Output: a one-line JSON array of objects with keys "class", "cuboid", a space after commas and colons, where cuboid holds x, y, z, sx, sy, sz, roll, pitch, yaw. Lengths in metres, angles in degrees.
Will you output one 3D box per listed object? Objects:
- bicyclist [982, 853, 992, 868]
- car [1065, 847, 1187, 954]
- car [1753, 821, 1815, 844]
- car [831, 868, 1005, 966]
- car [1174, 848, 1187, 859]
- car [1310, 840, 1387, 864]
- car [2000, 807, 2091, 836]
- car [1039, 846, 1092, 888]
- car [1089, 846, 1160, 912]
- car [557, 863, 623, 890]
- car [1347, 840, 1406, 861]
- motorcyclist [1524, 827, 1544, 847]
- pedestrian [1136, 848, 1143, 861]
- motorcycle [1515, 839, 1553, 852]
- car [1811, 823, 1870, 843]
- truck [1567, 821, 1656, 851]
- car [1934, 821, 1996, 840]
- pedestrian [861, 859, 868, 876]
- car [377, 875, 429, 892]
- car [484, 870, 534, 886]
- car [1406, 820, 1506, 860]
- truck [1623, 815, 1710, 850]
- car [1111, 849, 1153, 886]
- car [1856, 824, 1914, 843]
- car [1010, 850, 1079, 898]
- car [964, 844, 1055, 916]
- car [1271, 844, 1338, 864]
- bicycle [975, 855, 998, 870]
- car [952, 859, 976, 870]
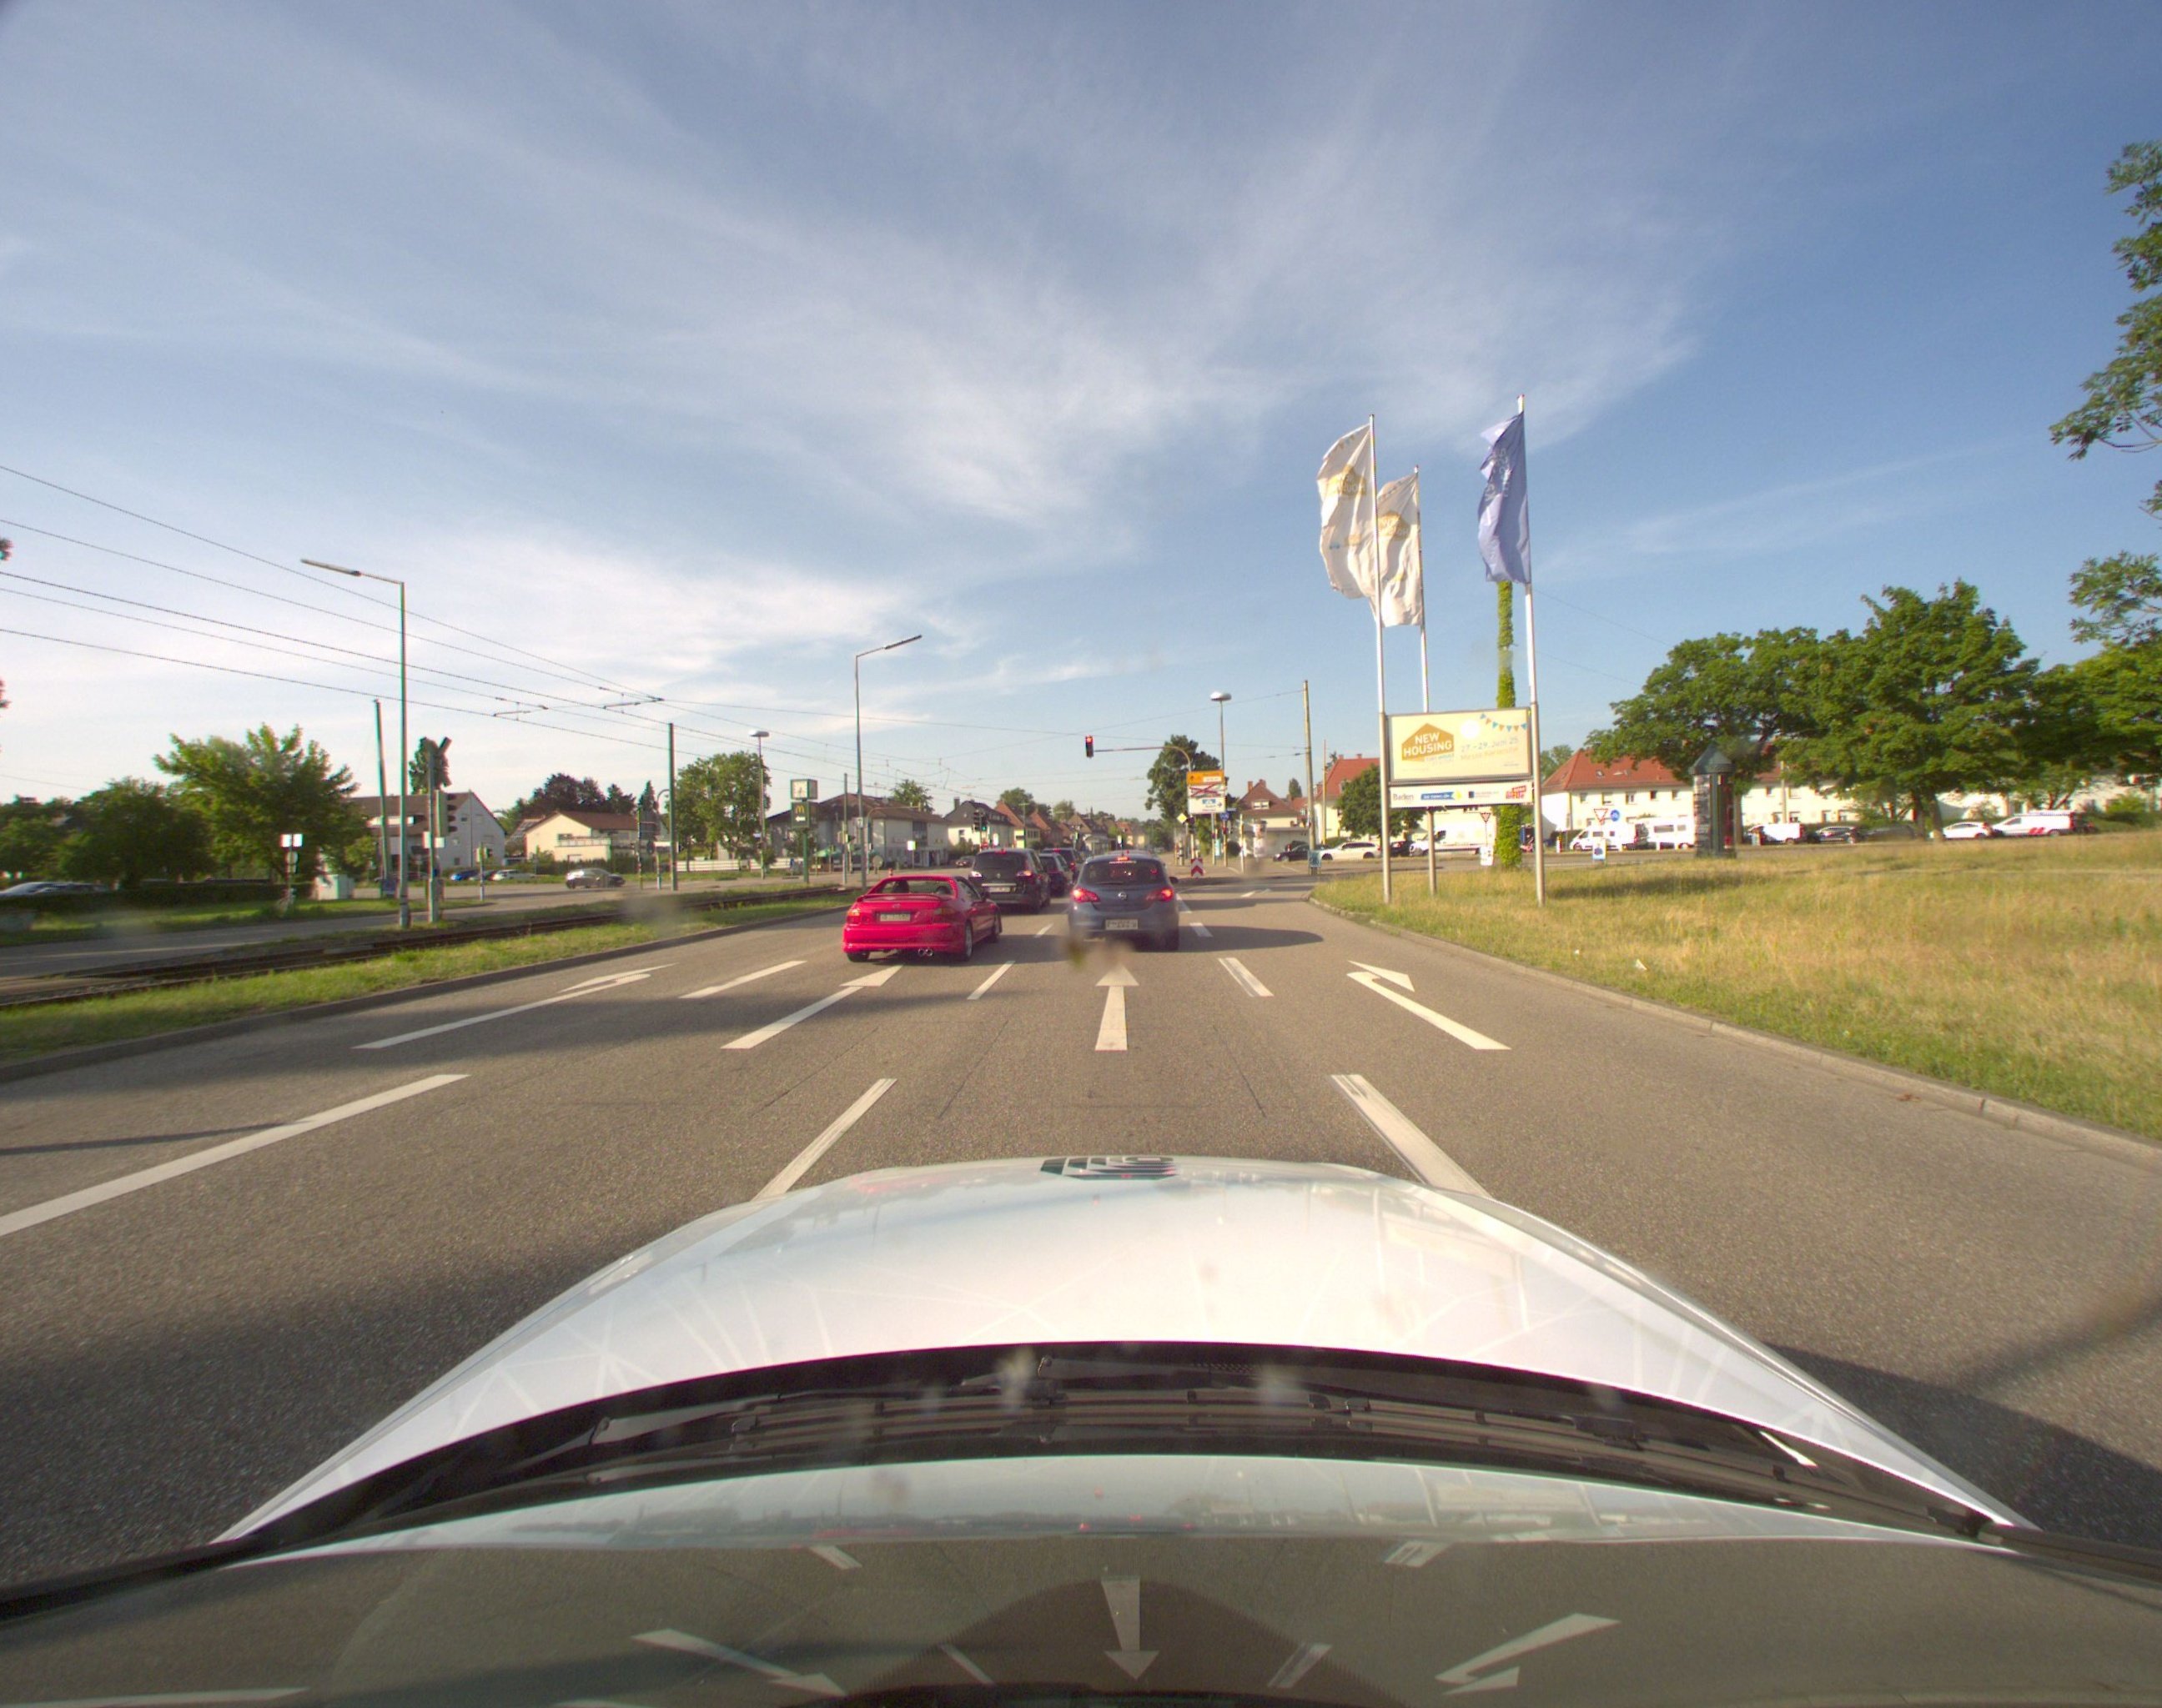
[{"class": "bicyclist", "cuboid": [-8.895, 0.641, 77.002, 0.882, 1.431, 1.135, 0, -1, -3]}, {"class": "car", "cuboid": [0.737, 0.658, 14.002, 1.735, 1.505, 4.225, -2, 0, 2]}, {"class": "car", "cuboid": [62.540, -1.889, 72.469, 1.906, 1.920, 3.863, -2, 0, -40]}, {"class": "car", "cuboid": [-2.334, 0.866, 12.684, 1.724, 1.206, 3.850, 0, 0, 3]}, {"class": "car", "cuboid": [13.188, -0.001, 108.437, 1.666, 1.398, 4.007, 0, -1, 6]}, {"class": "car", "cuboid": [19.442, -0.121, 59.423, 5.068, 1.563, 1.843, -2, 0, 6]}, {"class": "car", "cuboid": [82.678, -2.766, 69.912, 2.010, 2.232, 4.921, -2, 0, -40]}, {"class": "car", "cuboid": [-0.611, 0.517, 35.817, 1.498, 1.651, 4.755, -2, 0, 8]}, {"class": "car", "cuboid": [1.186, 0.603, 22.016, 1.699, 1.551, 3.981, -2, 0, 3]}, {"class": "car", "cuboid": [-35.976, 1.621, 59.705, 3.965, 1.793, 1.523, -2, 0, 7]}, {"class": "car", "cuboid": [22.749, -0.235, 62.743, 3.966, 1.453, 1.719, -2, 0, 6]}, {"class": "motorcyclist", "cuboid": [31.986, -1.206, 57.519, 1.060, 1.352, 0.681, -2, 0, 5]}, {"class": "pedestrian", "cuboid": [7.081, 0.084, 98.490, 0.749, 1.499, 0.829, 0, -1, 8]}, {"class": "motorcycle", "cuboid": [32.009, -0.617, 57.522, 2.260, 0.866, 0.691, -2, 0, 4]}, {"class": "car", "cuboid": [66.407, -1.838, 71.267, 1.905, 1.514, 3.461, -2, 0, -36]}, {"class": "truck", "cuboid": [47.099, -1.545, 72.538, 2.284, 2.524, 6.298, -2, 1, -29]}, {"class": "car", "cuboid": [76.429, -2.011, 70.426, 1.905, 1.514, 3.395, -2, 0, -36]}, {"class": "pedestrian", "cuboid": [-20.817, 1.318, 78.275, 0.509, 1.599, 0.540, -2, 0, 5]}, {"class": "car", "cuboid": [-67.444, 2.941, 81.008, 3.958, 1.486, 2.008, -2, 0, 14]}, {"class": "car", "cuboid": [-62.133, 2.624, 88.567, 1.980, 1.684, 4.234, 0, -1, 12]}, {"class": "car", "cuboid": [27.013, -0.992, 58.815, 6.177, 2.583, 2.003, -2, 0, 6]}, {"class": "truck", "cuboid": [52.542, -1.923, 73.250, 1.906, 2.854, 6.007, -2, 0, -40]}, {"class": "car", "cuboid": [2.193, 0.550, 35.109, 1.649, 1.443, 4.018, -2, 0, 4]}, {"class": "car", "cuboid": [71.441, -1.850, 72.394, 1.905, 1.514, 3.395, -2, 0, -36]}, {"class": "car", "cuboid": [-1.185, 0.646, 28.694, 1.691, 1.508, 4.562, -1, 0, 7]}, {"class": "car", "cuboid": [-1.757, 0.603, 21.189, 1.756, 1.670, 4.087, -1, 0, 3]}, {"class": "car", "cuboid": [17.340, -0.003, 63.281, 4.799, 1.411, 1.719, -2, 0, 6]}, {"class": "bicycle", "cuboid": [-8.940, 0.796, 77.006, 2.070, 1.348, 1.107, 0, -1, -4]}, {"class": "car", "cuboid": [-14.676, 1.315, 102.068, 1.652, 1.345, 4.090, -2, -1, 11]}]
